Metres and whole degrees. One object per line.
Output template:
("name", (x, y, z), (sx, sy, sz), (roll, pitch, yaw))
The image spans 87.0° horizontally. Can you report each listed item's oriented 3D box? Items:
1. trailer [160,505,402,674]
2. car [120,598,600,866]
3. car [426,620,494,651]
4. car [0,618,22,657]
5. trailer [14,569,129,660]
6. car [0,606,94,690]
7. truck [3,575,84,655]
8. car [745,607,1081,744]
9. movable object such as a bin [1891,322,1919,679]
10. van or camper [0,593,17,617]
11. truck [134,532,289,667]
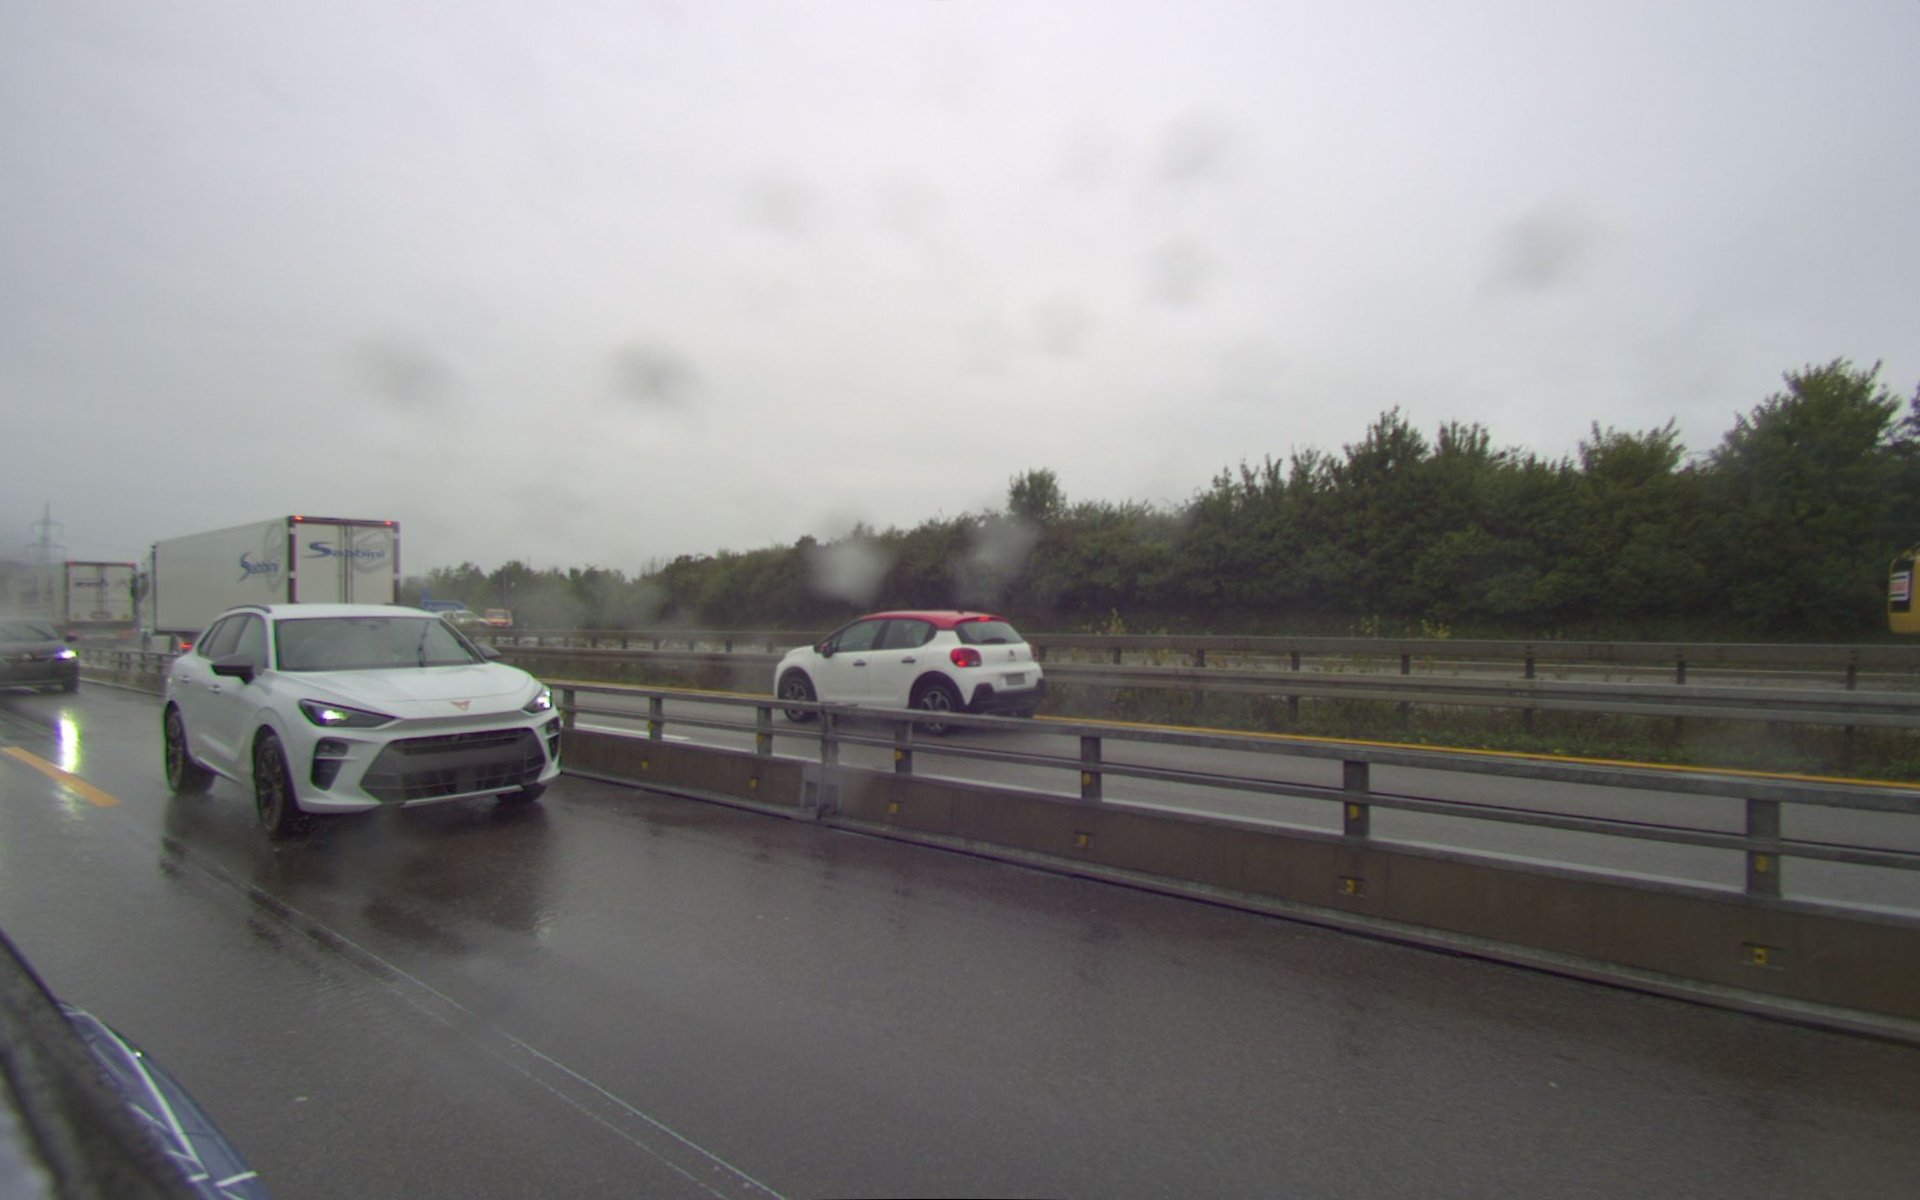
("trailer", (-20.330, -0.079, 29.790), (12.214, 4.121, 2.877), (-2, -2, 41))
("car", (-5.131, 0.814, 8.294), (5.004, 1.562, 1.907), (-1, -1, 41))
("car", (-33.447, 2.337, 67.646), (5.359, 1.981, 2.073), (-1, -1, 39))
("car", (-48.107, 1.881, 50.142), (4.430, 1.899, 1.973), (-2, -2, 41))
("trailer", (-44.431, 0.734, 50.395), (12.577, 4.080, 2.469), (-1, -1, 40))
("car", (-20.398, 0.977, 21.838), (5.195, 1.640, 2.041), (-1, -1, 43))
("truck", (-49.798, 0.828, 54.918), (6.444, 4.061, 2.458), (-1, -1, 41))
("car", (-0.733, 0.864, 13.368), (4.294, 1.517, 1.973), (-1, -1, 41))
("movable object such as a bin", (21.237, -1.747, 14.877), (11.046, 5.959, 4.125), (-1, 0, 43))
("van or camper", (-137.217, 0.775, 142.906), (3.371, 3.370, 5.359), (-1, 0, 35))
("truck", (-25.514, 0.094, 34.373), (6.923, 4.133, 2.853), (-2, -2, 41))
